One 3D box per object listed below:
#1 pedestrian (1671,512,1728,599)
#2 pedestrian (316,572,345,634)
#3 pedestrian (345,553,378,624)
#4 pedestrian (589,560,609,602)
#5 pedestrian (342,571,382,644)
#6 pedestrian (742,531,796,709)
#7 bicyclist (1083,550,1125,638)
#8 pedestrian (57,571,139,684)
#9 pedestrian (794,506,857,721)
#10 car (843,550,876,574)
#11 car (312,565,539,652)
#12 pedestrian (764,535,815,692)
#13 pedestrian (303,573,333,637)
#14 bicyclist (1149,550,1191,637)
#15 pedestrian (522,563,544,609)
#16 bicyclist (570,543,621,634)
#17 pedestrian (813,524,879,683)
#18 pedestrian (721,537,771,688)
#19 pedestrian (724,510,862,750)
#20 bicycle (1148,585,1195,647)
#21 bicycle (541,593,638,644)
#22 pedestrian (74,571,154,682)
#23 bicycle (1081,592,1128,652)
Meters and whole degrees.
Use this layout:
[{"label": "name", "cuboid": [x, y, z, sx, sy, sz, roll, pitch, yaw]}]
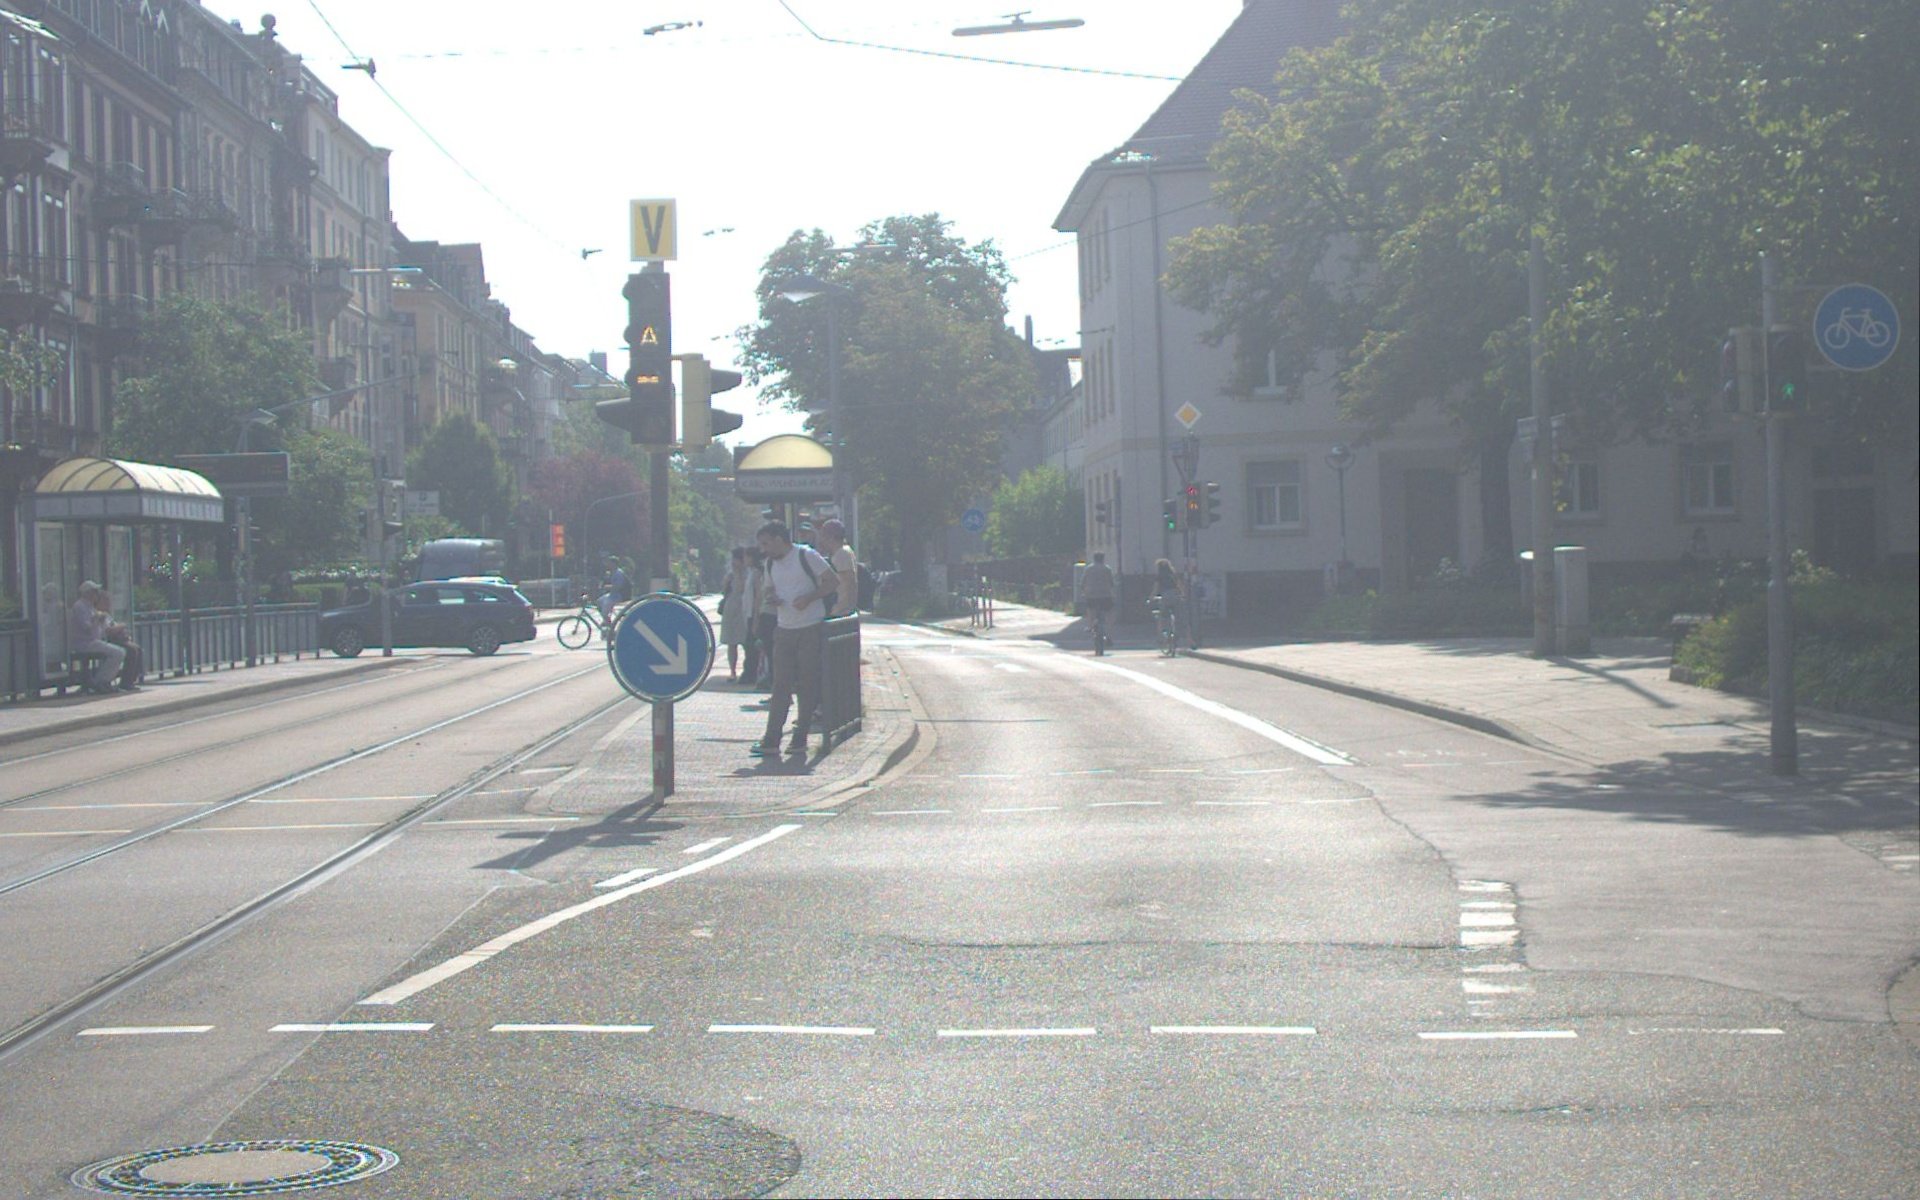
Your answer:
[{"label": "pedestrian", "cuboid": [15.097, -0.912, 70.204, 0.893, 1.734, 0.775, -1, 1, 32]}, {"label": "pedestrian", "cuboid": [-17.776, 0.091, 97.046, 0.750, 1.725, 0.772, -2, 0, -10]}, {"label": "pedestrian", "cuboid": [-14.808, -0.283, 85.113, 0.750, 1.725, 0.772, -2, 0, -10]}, {"label": "pedestrian", "cuboid": [-15.209, -0.807, 144.908, 0.750, 1.725, 0.772, -2, 0, -10]}, {"label": "pedestrian", "cuboid": [-14.429, 0.179, 82.971, 0.750, 1.725, 0.771, -2, 0, 1]}, {"label": "pedestrian", "cuboid": [-1.915, 0.197, 34.492, 0.504, 1.753, 0.534, 1, 3, -1]}, {"label": "bicyclist", "cuboid": [2.488, -0.112, 59.599, 0.629, 1.502, 0.678, -2, 1, -3]}, {"label": "pedestrian", "cuboid": [-10.546, 0.331, 42.072, 0.827, 1.354, 0.776, -2, 0, -5]}, {"label": "pedestrian", "cuboid": [-1.162, 0.110, 29.795, 0.504, 1.827, 0.534, 1, 3, -1]}, {"label": "car", "cuboid": [-7.526, -2.864, 257.377, 1.994, 1.777, 3.999, 0, 1, 6]}, {"label": "car", "cuboid": [-10.609, 0.151, 68.078, 4.321, 1.564, 2.001, -2, 1, -11]}, {"label": "pedestrian", "cuboid": [-1.947, 0.152, 39.310, 0.543, 1.753, 0.534, 1, 3, -1]}, {"label": "pedestrian", "cuboid": [-17.565, 0.126, 94.102, 0.750, 1.725, 0.772, -2, 0, -10]}, {"label": "bicyclist", "cuboid": [3.478, -0.106, 56.953, 0.558, 1.412, 0.872, -2, 1, -3]}, {"label": "pedestrian", "cuboid": [-16.268, -0.533, 130.967, 0.750, 1.725, 0.772, -2, 0, -10]}, {"label": "bicyclist", "cuboid": [-7.523, -0.246, 70.968, 0.986, 1.851, 0.493, -2, 0, -3]}, {"label": "pedestrian", "cuboid": [-1.282, 0.031, 38.694, 0.709, 1.753, 0.534, 1, 3, -1]}, {"label": "pedestrian", "cuboid": [-2.539, 0.144, 40.723, 0.532, 1.753, 0.545, 1, 3, 0]}, {"label": "pedestrian", "cuboid": [-1.236, 0.204, 25.528, 0.701, 1.719, 0.747, 3, 3, 32]}, {"label": "bicycle", "cuboid": [3.496, 0.263, 56.943, 0.558, 0.974, 1.856, -2, 1, -3]}, {"label": "bicycle", "cuboid": [-7.643, 0.379, 70.963, 1.936, 0.974, 0.496, -2, 0, -3]}, {"label": "pedestrian", "cuboid": [-10.592, 0.323, 43.049, 0.827, 1.354, 0.776, -2, 0, -5]}, {"label": "bicycle", "cuboid": [2.496, 0.376, 59.607, 0.629, 0.974, 1.770, -2, 1, -3]}]
